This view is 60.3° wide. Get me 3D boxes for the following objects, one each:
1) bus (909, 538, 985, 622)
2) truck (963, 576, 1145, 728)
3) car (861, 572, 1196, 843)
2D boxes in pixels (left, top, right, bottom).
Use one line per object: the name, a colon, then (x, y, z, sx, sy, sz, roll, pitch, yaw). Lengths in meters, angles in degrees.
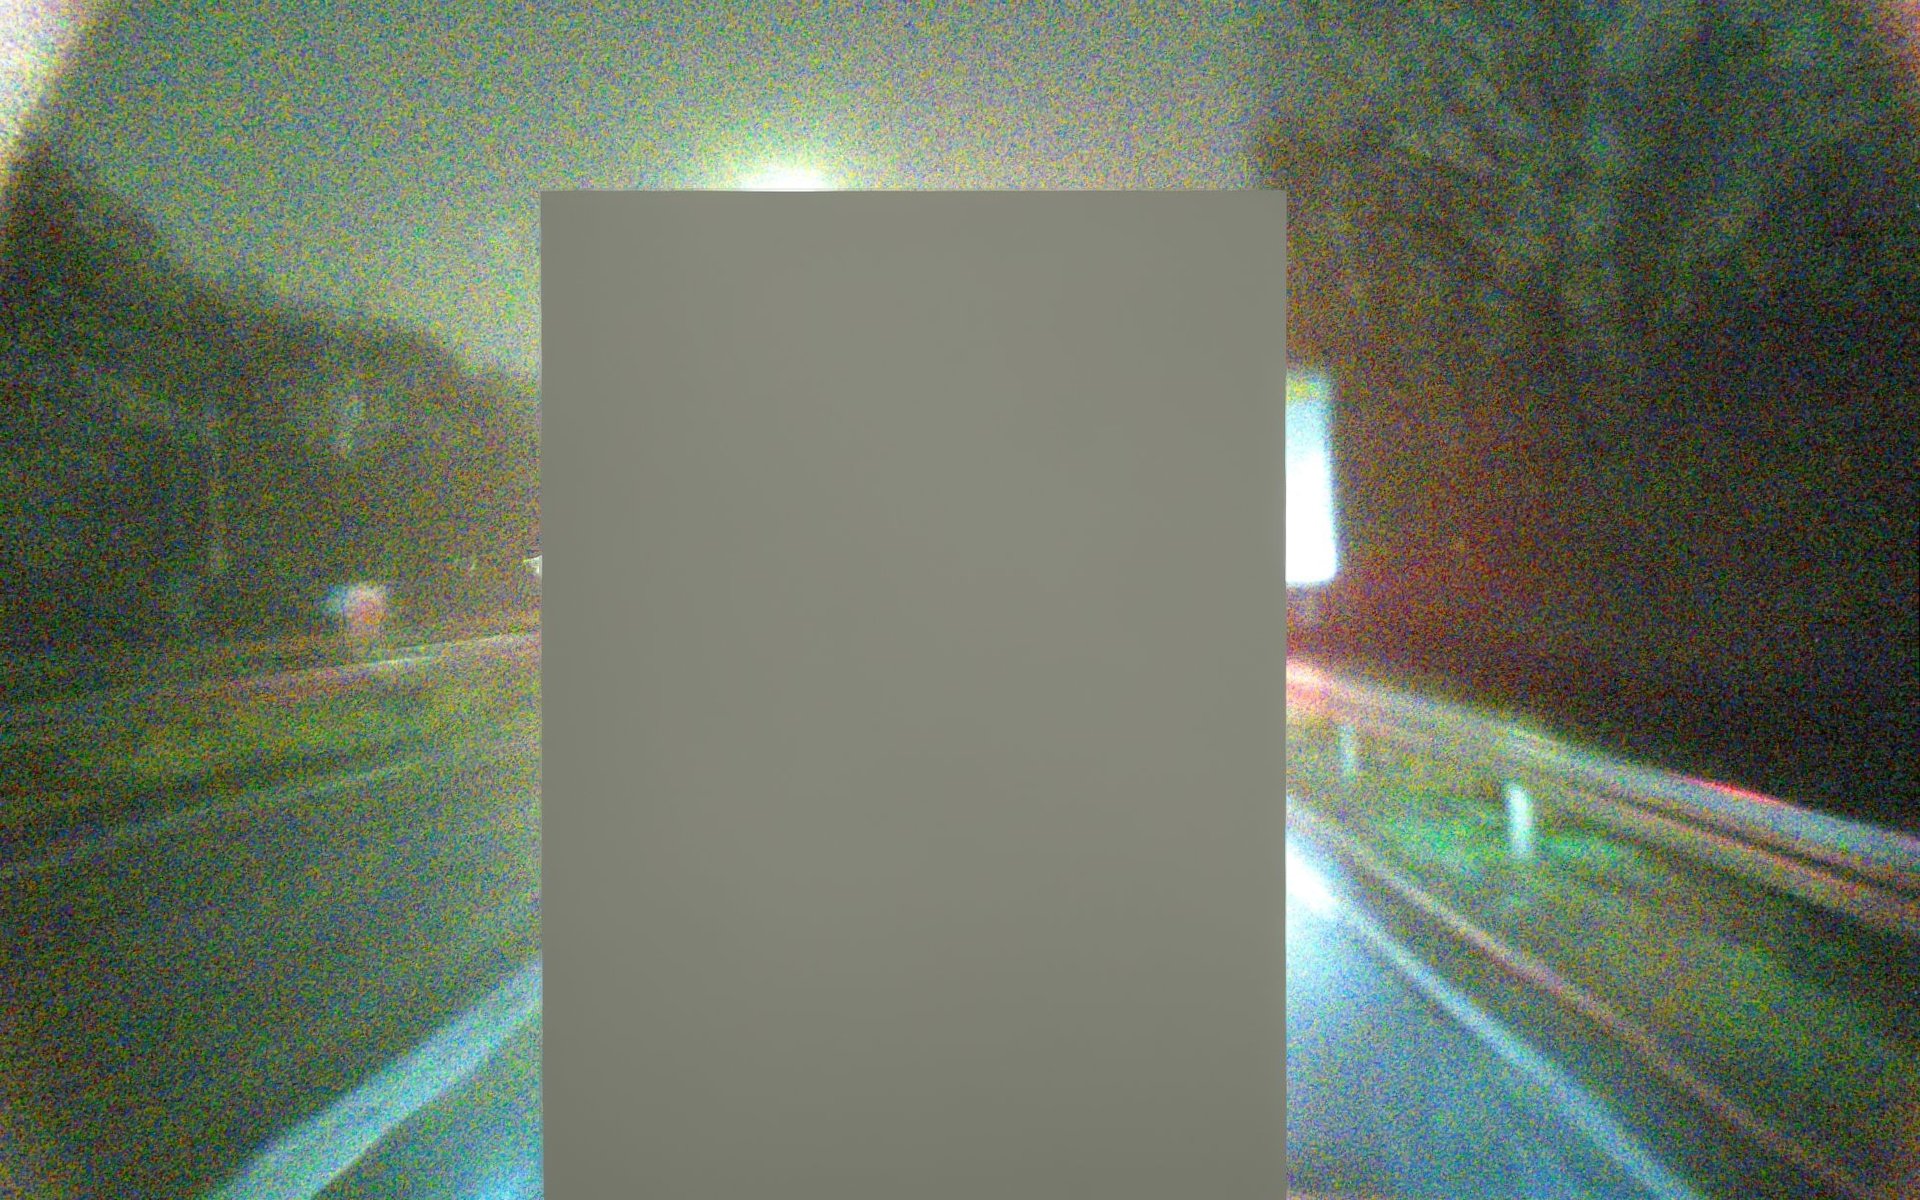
bus: (-0.442, -0.816, 68.634, 2.687, 3.178, 9.204, 1, 1, 2)
truck: (2.021, 0.965, 32.372, 3.004, 2.573, 7.171, 1, -1, 7)
car: (0.585, 0.606, 11.235, 1.903, 1.517, 3.718, 0, 0, 6)
